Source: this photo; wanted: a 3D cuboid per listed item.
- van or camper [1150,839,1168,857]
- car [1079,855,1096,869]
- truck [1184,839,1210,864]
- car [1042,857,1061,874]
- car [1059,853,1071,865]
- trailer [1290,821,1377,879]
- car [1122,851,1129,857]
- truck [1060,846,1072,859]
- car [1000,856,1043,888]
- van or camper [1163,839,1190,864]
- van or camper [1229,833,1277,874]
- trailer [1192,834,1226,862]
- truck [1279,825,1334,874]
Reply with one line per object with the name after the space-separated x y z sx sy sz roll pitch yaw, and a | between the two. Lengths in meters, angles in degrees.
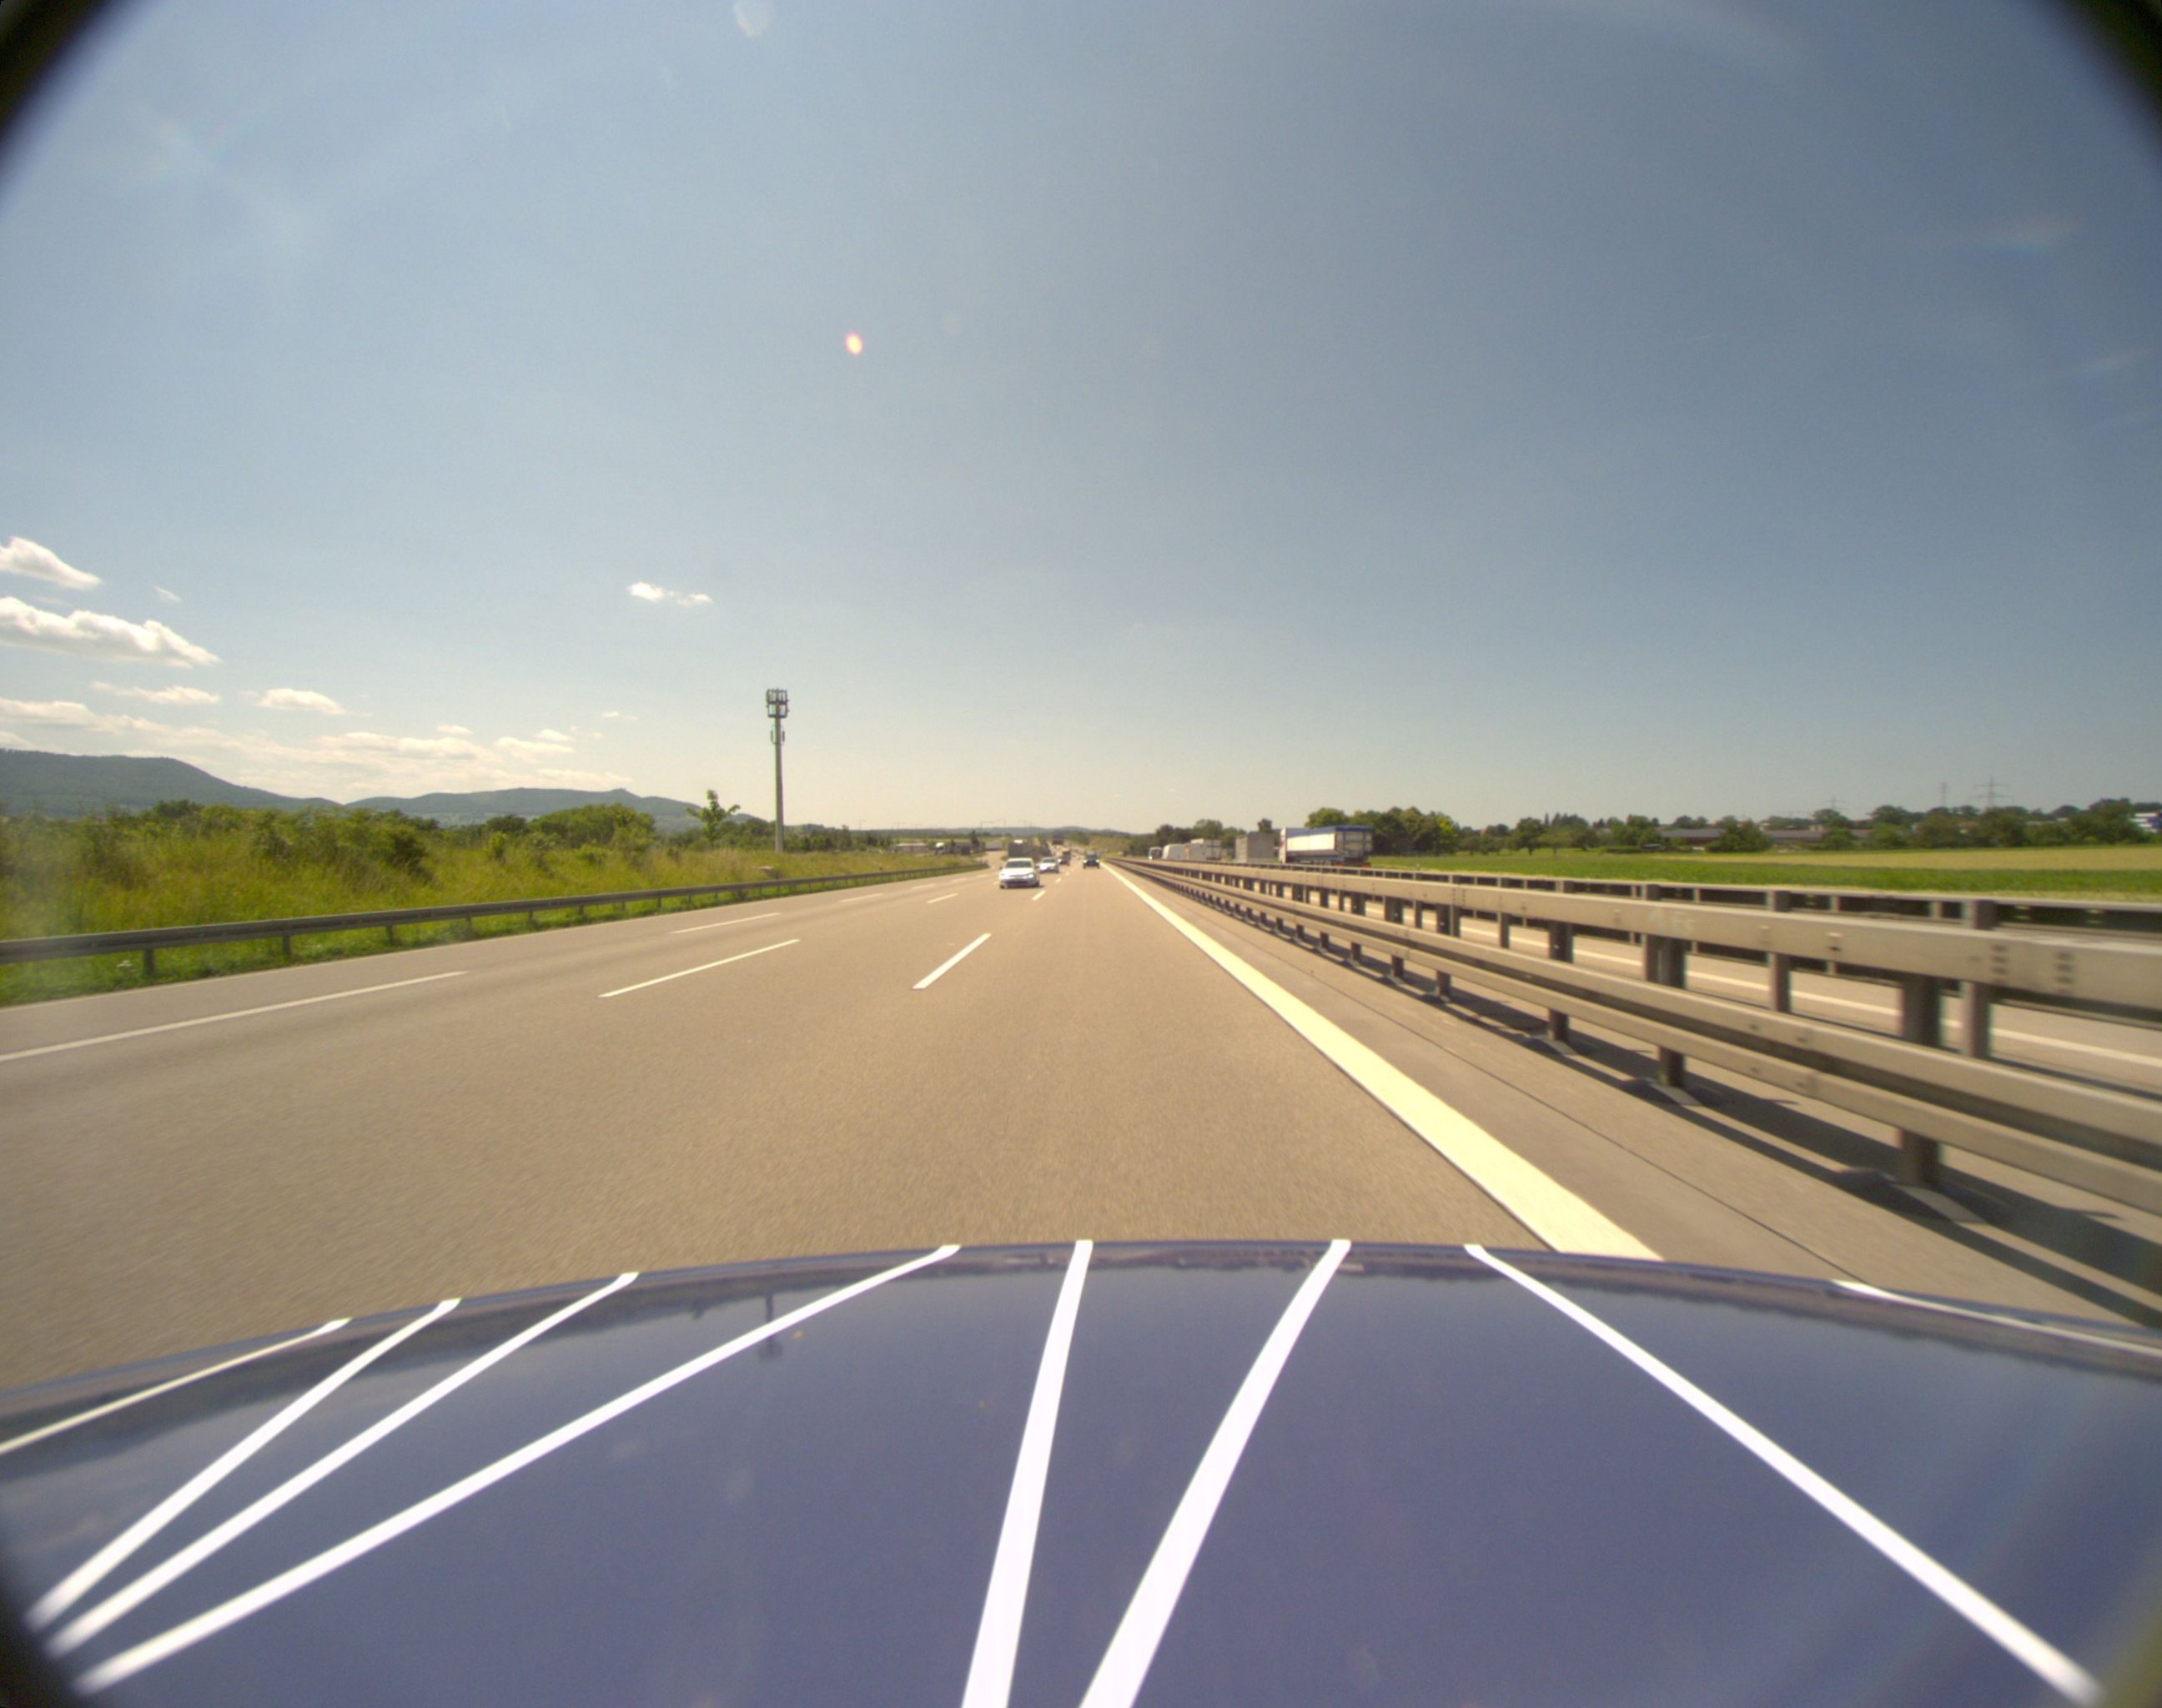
12.504 -0.989 122.804 2.163 2.719 7.295 -2 1 1 | van or camper
0.698 0.842 85.750 1.751 1.439 3.999 -2 0 -1 | car
14.521 -0.301 95.704 2.255 2.992 7.427 1 1 1 | truck
-2.628 0.988 68.301 1.634 1.381 3.999 -2 1 -1 | car
-2.351 0.740 114.101 1.751 1.559 3.999 -2 1 -1 | car
17.976 -0.311 55.112 2.713 3.671 11.359 -2 1 2 | trailer
12.407 -0.096 210.915 1.815 1.631 4.428 1 1 1 | car
-5.125 -0.519 260.246 3.368 4.037 11.732 -2 1 -4 | truck
-2.970 0.876 38.702 1.780 1.425 4.690 -2 1 0 | car
10.252 -0.283 81.930 2.128 2.560 6.121 -2 1 1 | van or camper
13.978 -0.062 62.352 2.346 3.146 7.401 1 0 1 | van or camper
19.228 -0.980 114.898 2.965 3.895 12.893 -2 1 1 | trailer
18.140 -0.394 61.508 2.724 3.669 6.056 -2 1 2 | truck
